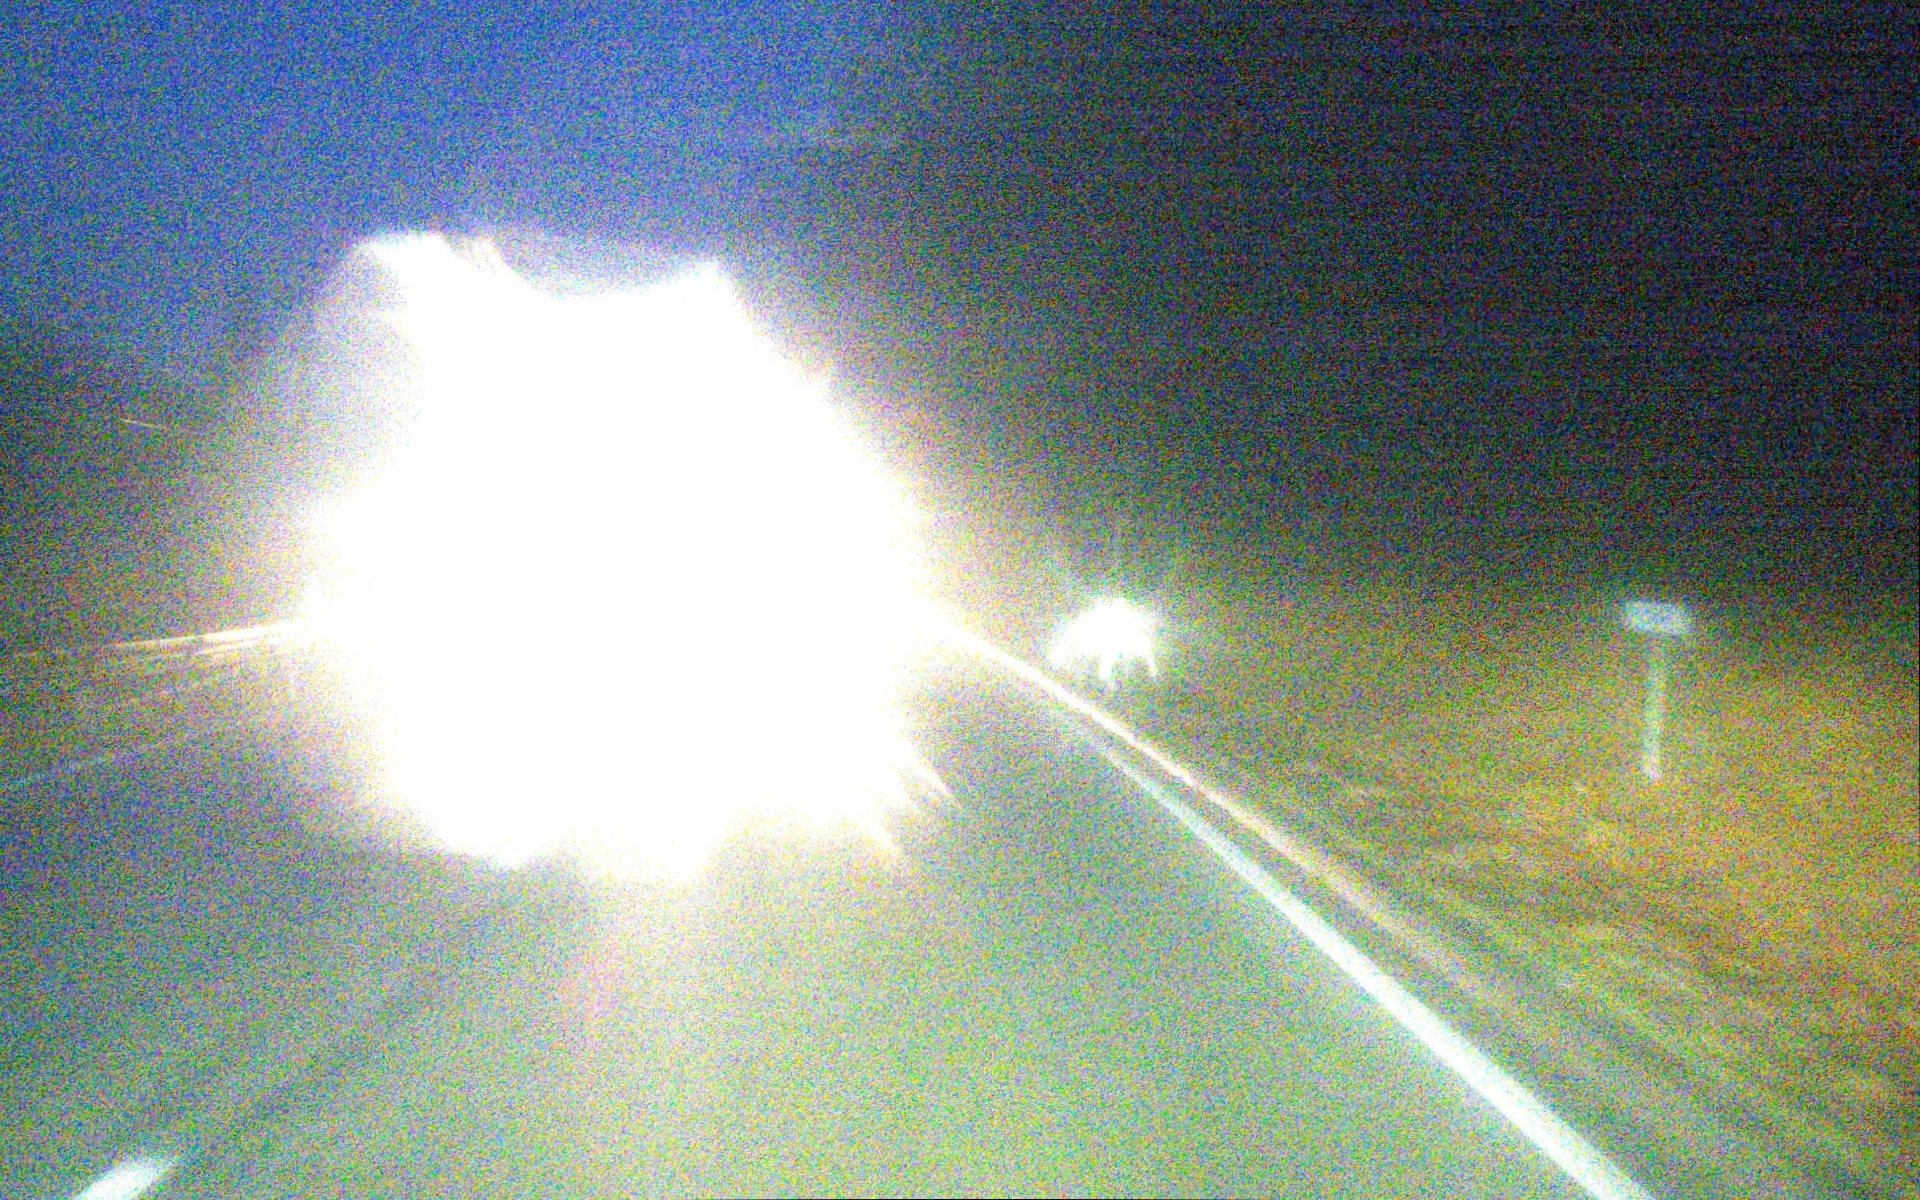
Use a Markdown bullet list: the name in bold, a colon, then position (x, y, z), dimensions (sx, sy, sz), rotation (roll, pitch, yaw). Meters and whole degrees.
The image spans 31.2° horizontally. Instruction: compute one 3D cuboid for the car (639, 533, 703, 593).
- **car**: position (-8.449, -1.092, 100.395), dimensions (1.771, 1.669, 4.055), rotation (2, 1, -5)
